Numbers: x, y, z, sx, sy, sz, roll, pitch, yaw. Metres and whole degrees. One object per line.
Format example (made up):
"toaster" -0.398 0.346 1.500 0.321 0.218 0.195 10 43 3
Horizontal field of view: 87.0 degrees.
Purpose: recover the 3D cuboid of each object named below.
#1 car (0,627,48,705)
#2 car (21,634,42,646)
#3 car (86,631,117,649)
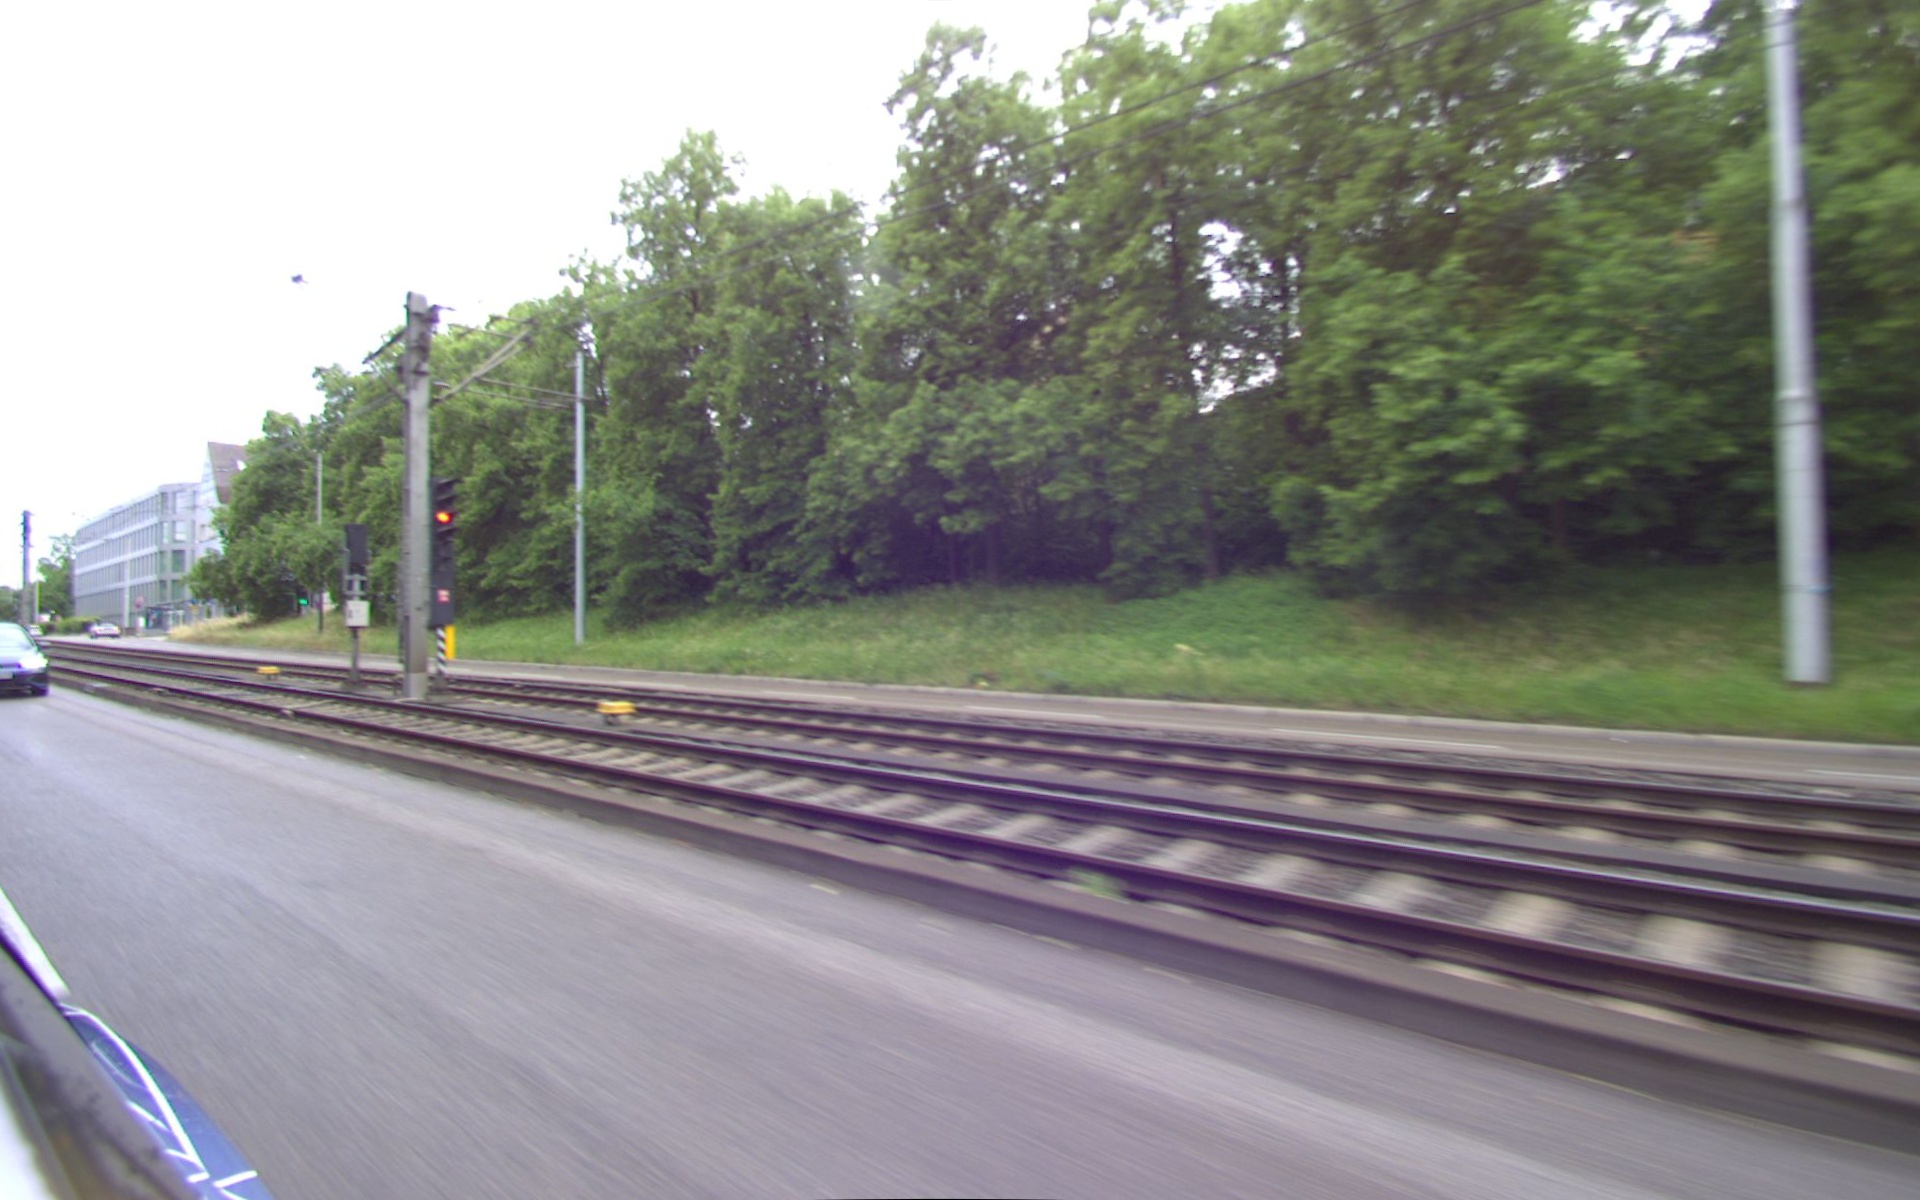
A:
"car" -19.639 1.280 20.157 3.831 1.459 1.747 -2 -2 41
"car" -120.811 5.162 131.662 4.379 1.541 1.635 -2 -2 42
"car" -73.181 3.375 86.248 3.908 1.447 1.460 -2 -4 42
